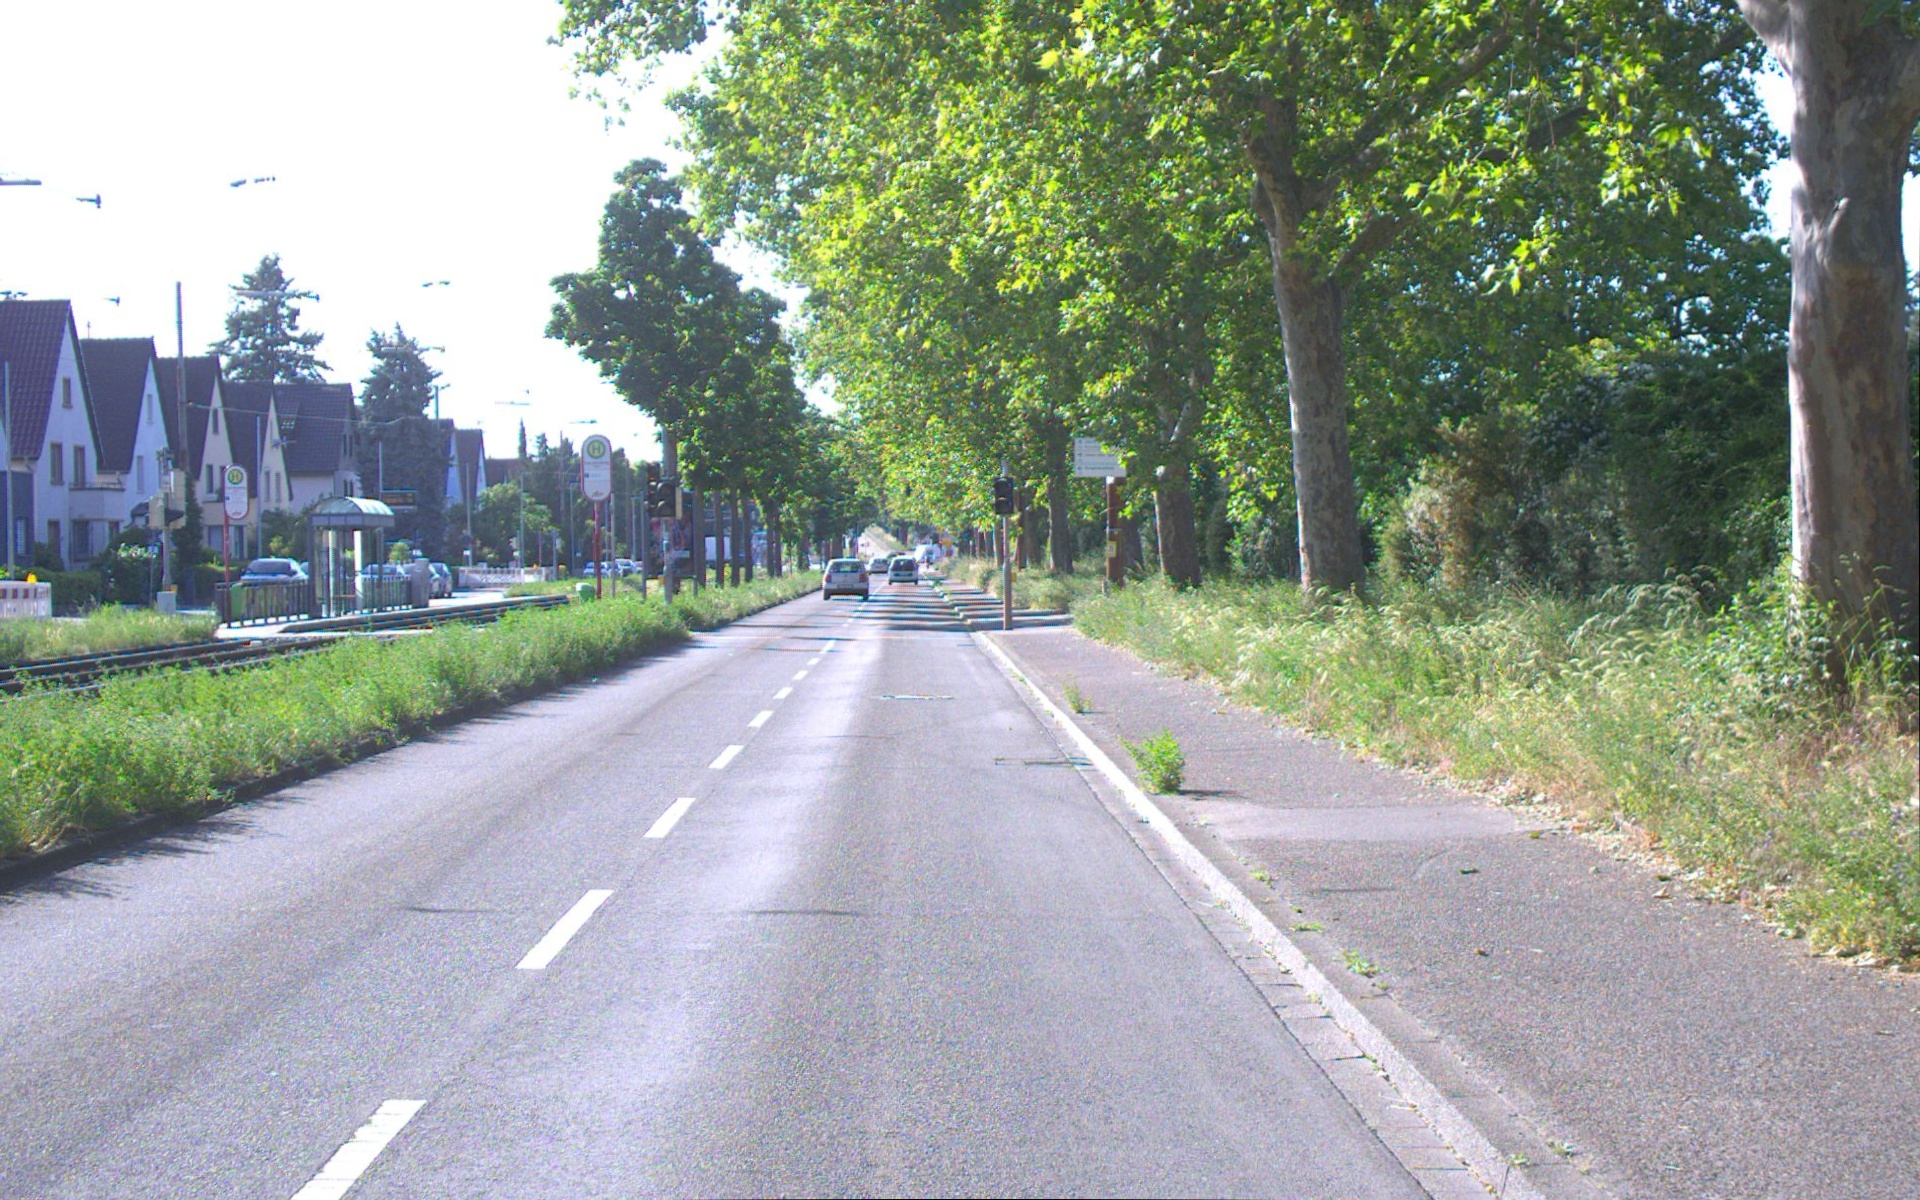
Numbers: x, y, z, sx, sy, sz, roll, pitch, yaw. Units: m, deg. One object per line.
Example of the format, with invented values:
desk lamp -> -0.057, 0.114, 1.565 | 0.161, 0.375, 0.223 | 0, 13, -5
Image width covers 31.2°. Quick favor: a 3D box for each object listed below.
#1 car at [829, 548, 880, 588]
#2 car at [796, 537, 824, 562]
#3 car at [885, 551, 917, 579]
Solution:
car -> -3.739, -1.149, 122.399 | 1.738, 1.396, 3.277 | 0, 1, -1
car -> -8.815, -2.986, 202.310 | 1.527, 1.450, 3.287 | 0, 1, 0
car -> -3.279, -1.948, 191.985 | 1.761, 1.508, 3.277 | 0, 1, 0
